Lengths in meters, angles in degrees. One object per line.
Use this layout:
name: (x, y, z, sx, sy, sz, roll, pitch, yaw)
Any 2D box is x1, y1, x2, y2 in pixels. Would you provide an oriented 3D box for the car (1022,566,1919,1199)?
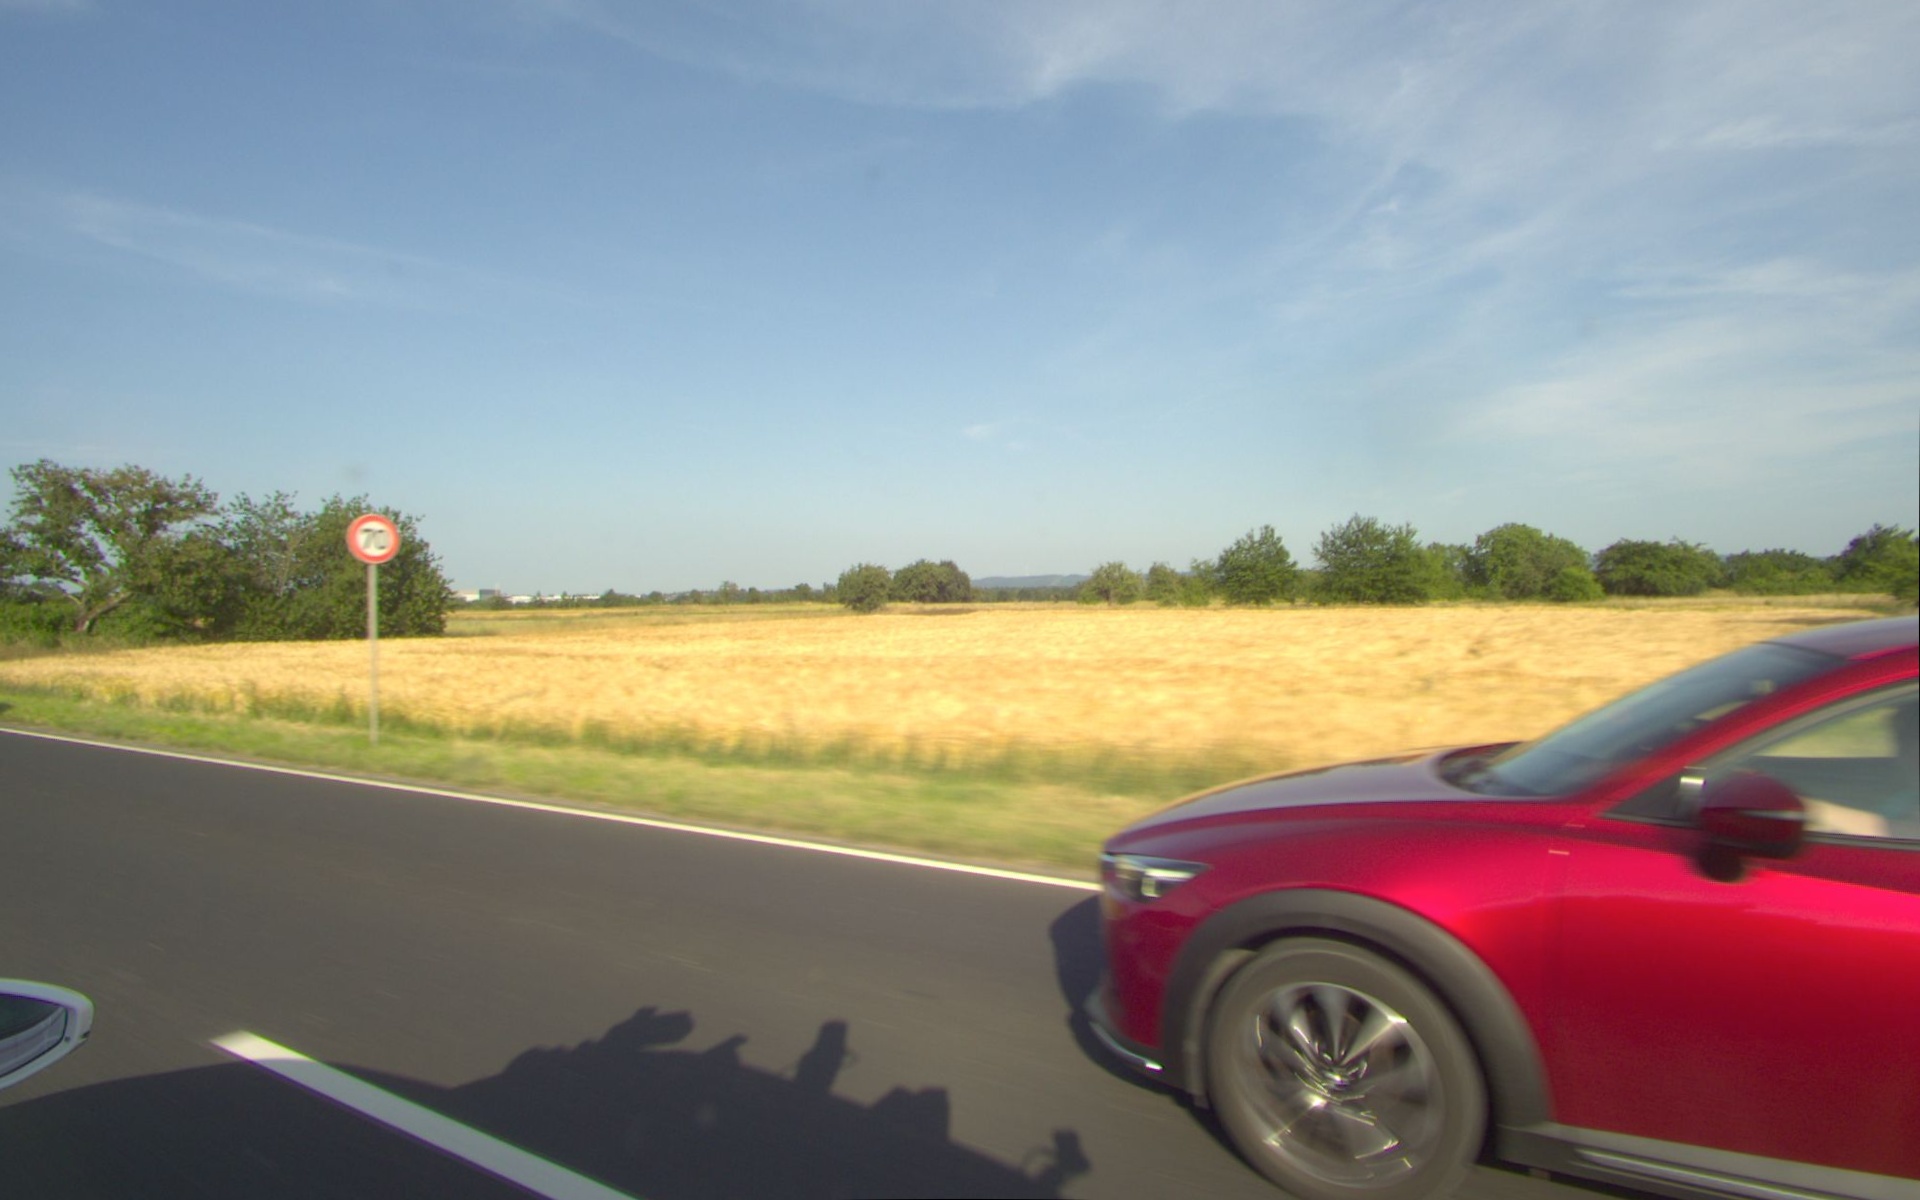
car: (2.510, 0.712, 2.508, 4.436, 1.525, 1.702, -2, -2, 32)
